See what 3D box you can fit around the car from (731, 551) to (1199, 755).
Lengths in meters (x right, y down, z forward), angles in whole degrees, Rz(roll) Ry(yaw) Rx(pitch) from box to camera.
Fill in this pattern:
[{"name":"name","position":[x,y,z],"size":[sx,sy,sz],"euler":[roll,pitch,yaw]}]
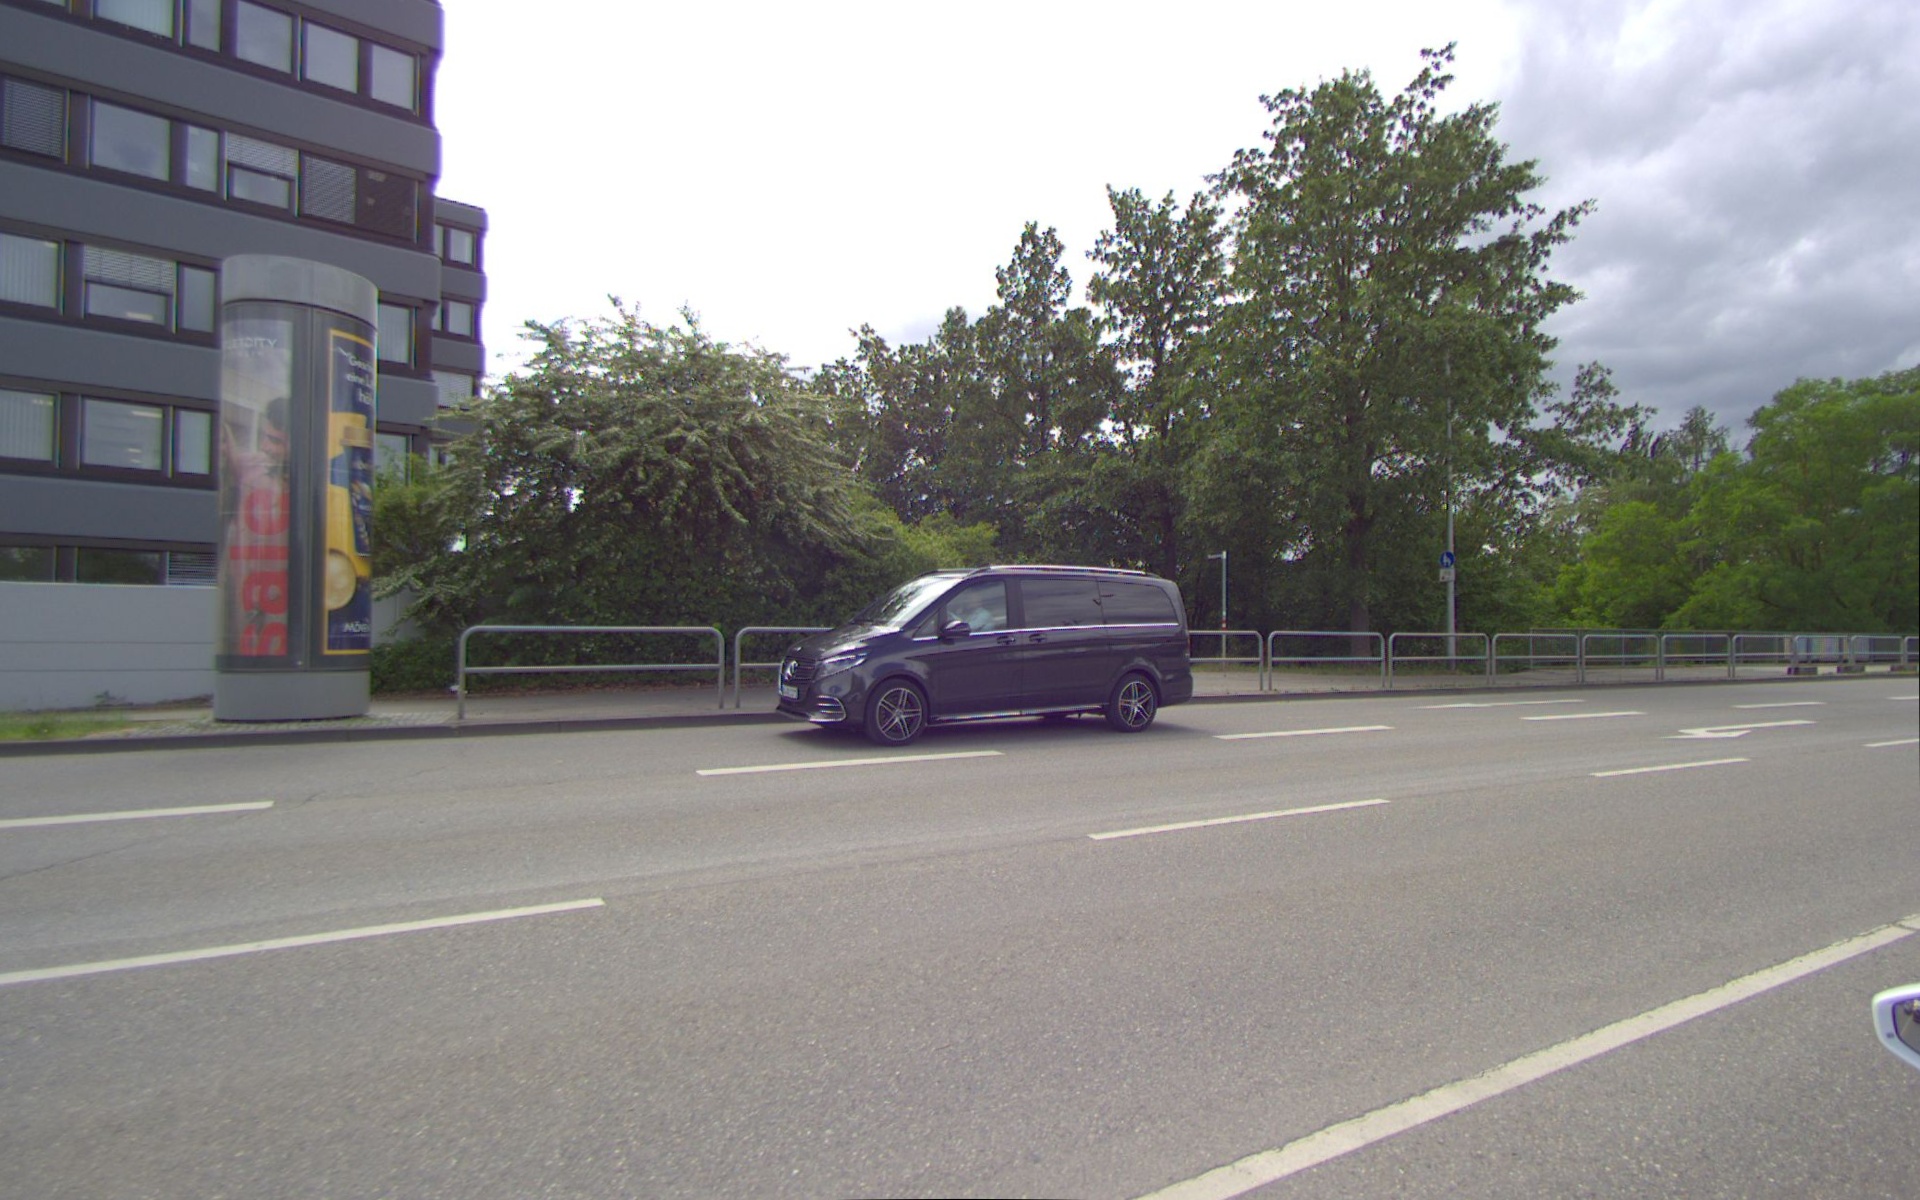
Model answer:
[{"name":"car","position":[0.173,0.571,11.924],"size":[5.302,1.973,2.008],"euler":[1,-1,-31]}]
